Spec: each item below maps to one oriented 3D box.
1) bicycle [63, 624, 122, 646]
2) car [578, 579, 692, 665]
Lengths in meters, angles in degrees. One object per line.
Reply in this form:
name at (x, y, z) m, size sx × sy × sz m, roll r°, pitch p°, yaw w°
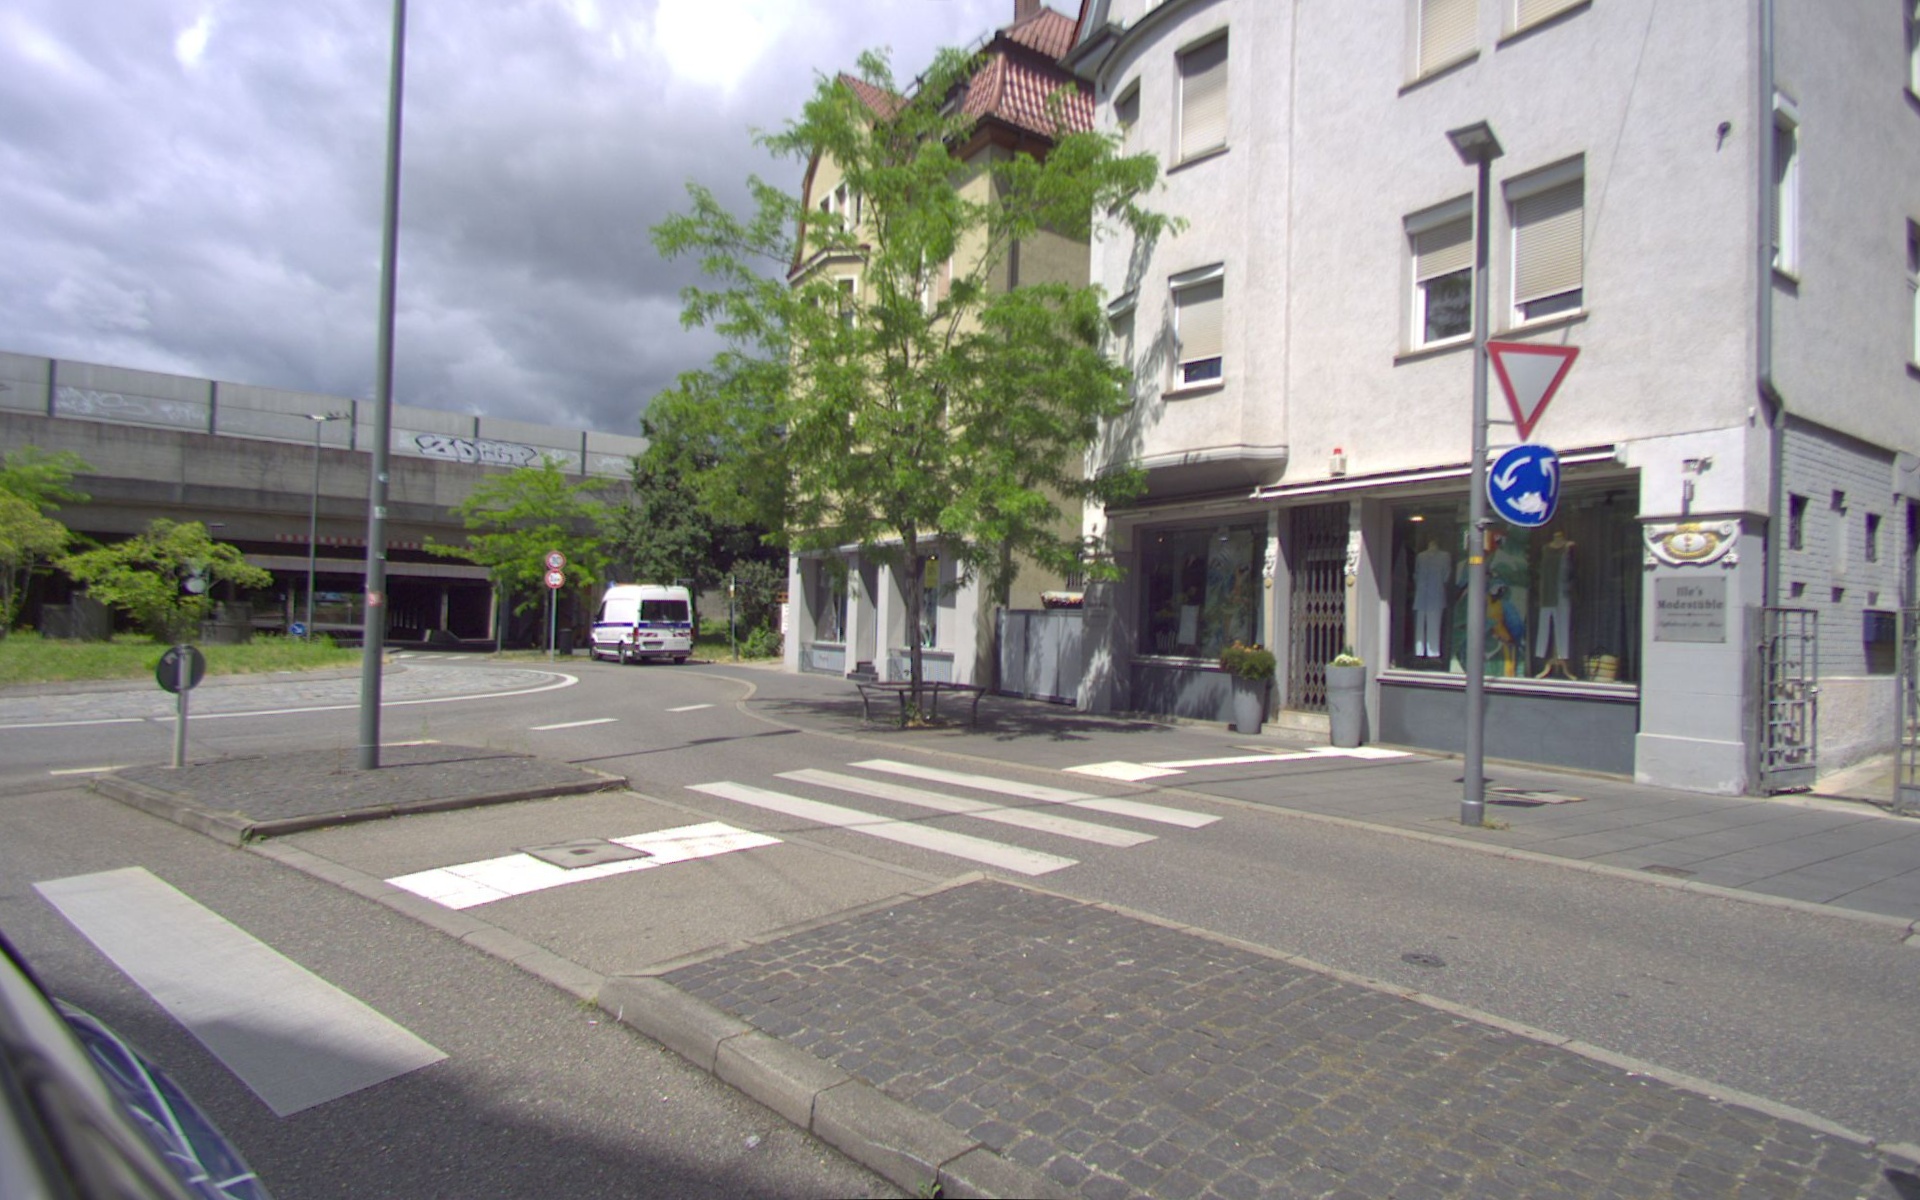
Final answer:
bicycle at (-39.109, 1.570, 45.659) m, size 1.919 × 0.911 × 0.508 m, roll 4°, pitch -3°, yaw -35°
car at (-10.954, 0.724, 33.781) m, size 1.941 × 2.626 × 5.945 m, roll 1°, pitch -2°, yaw -35°
